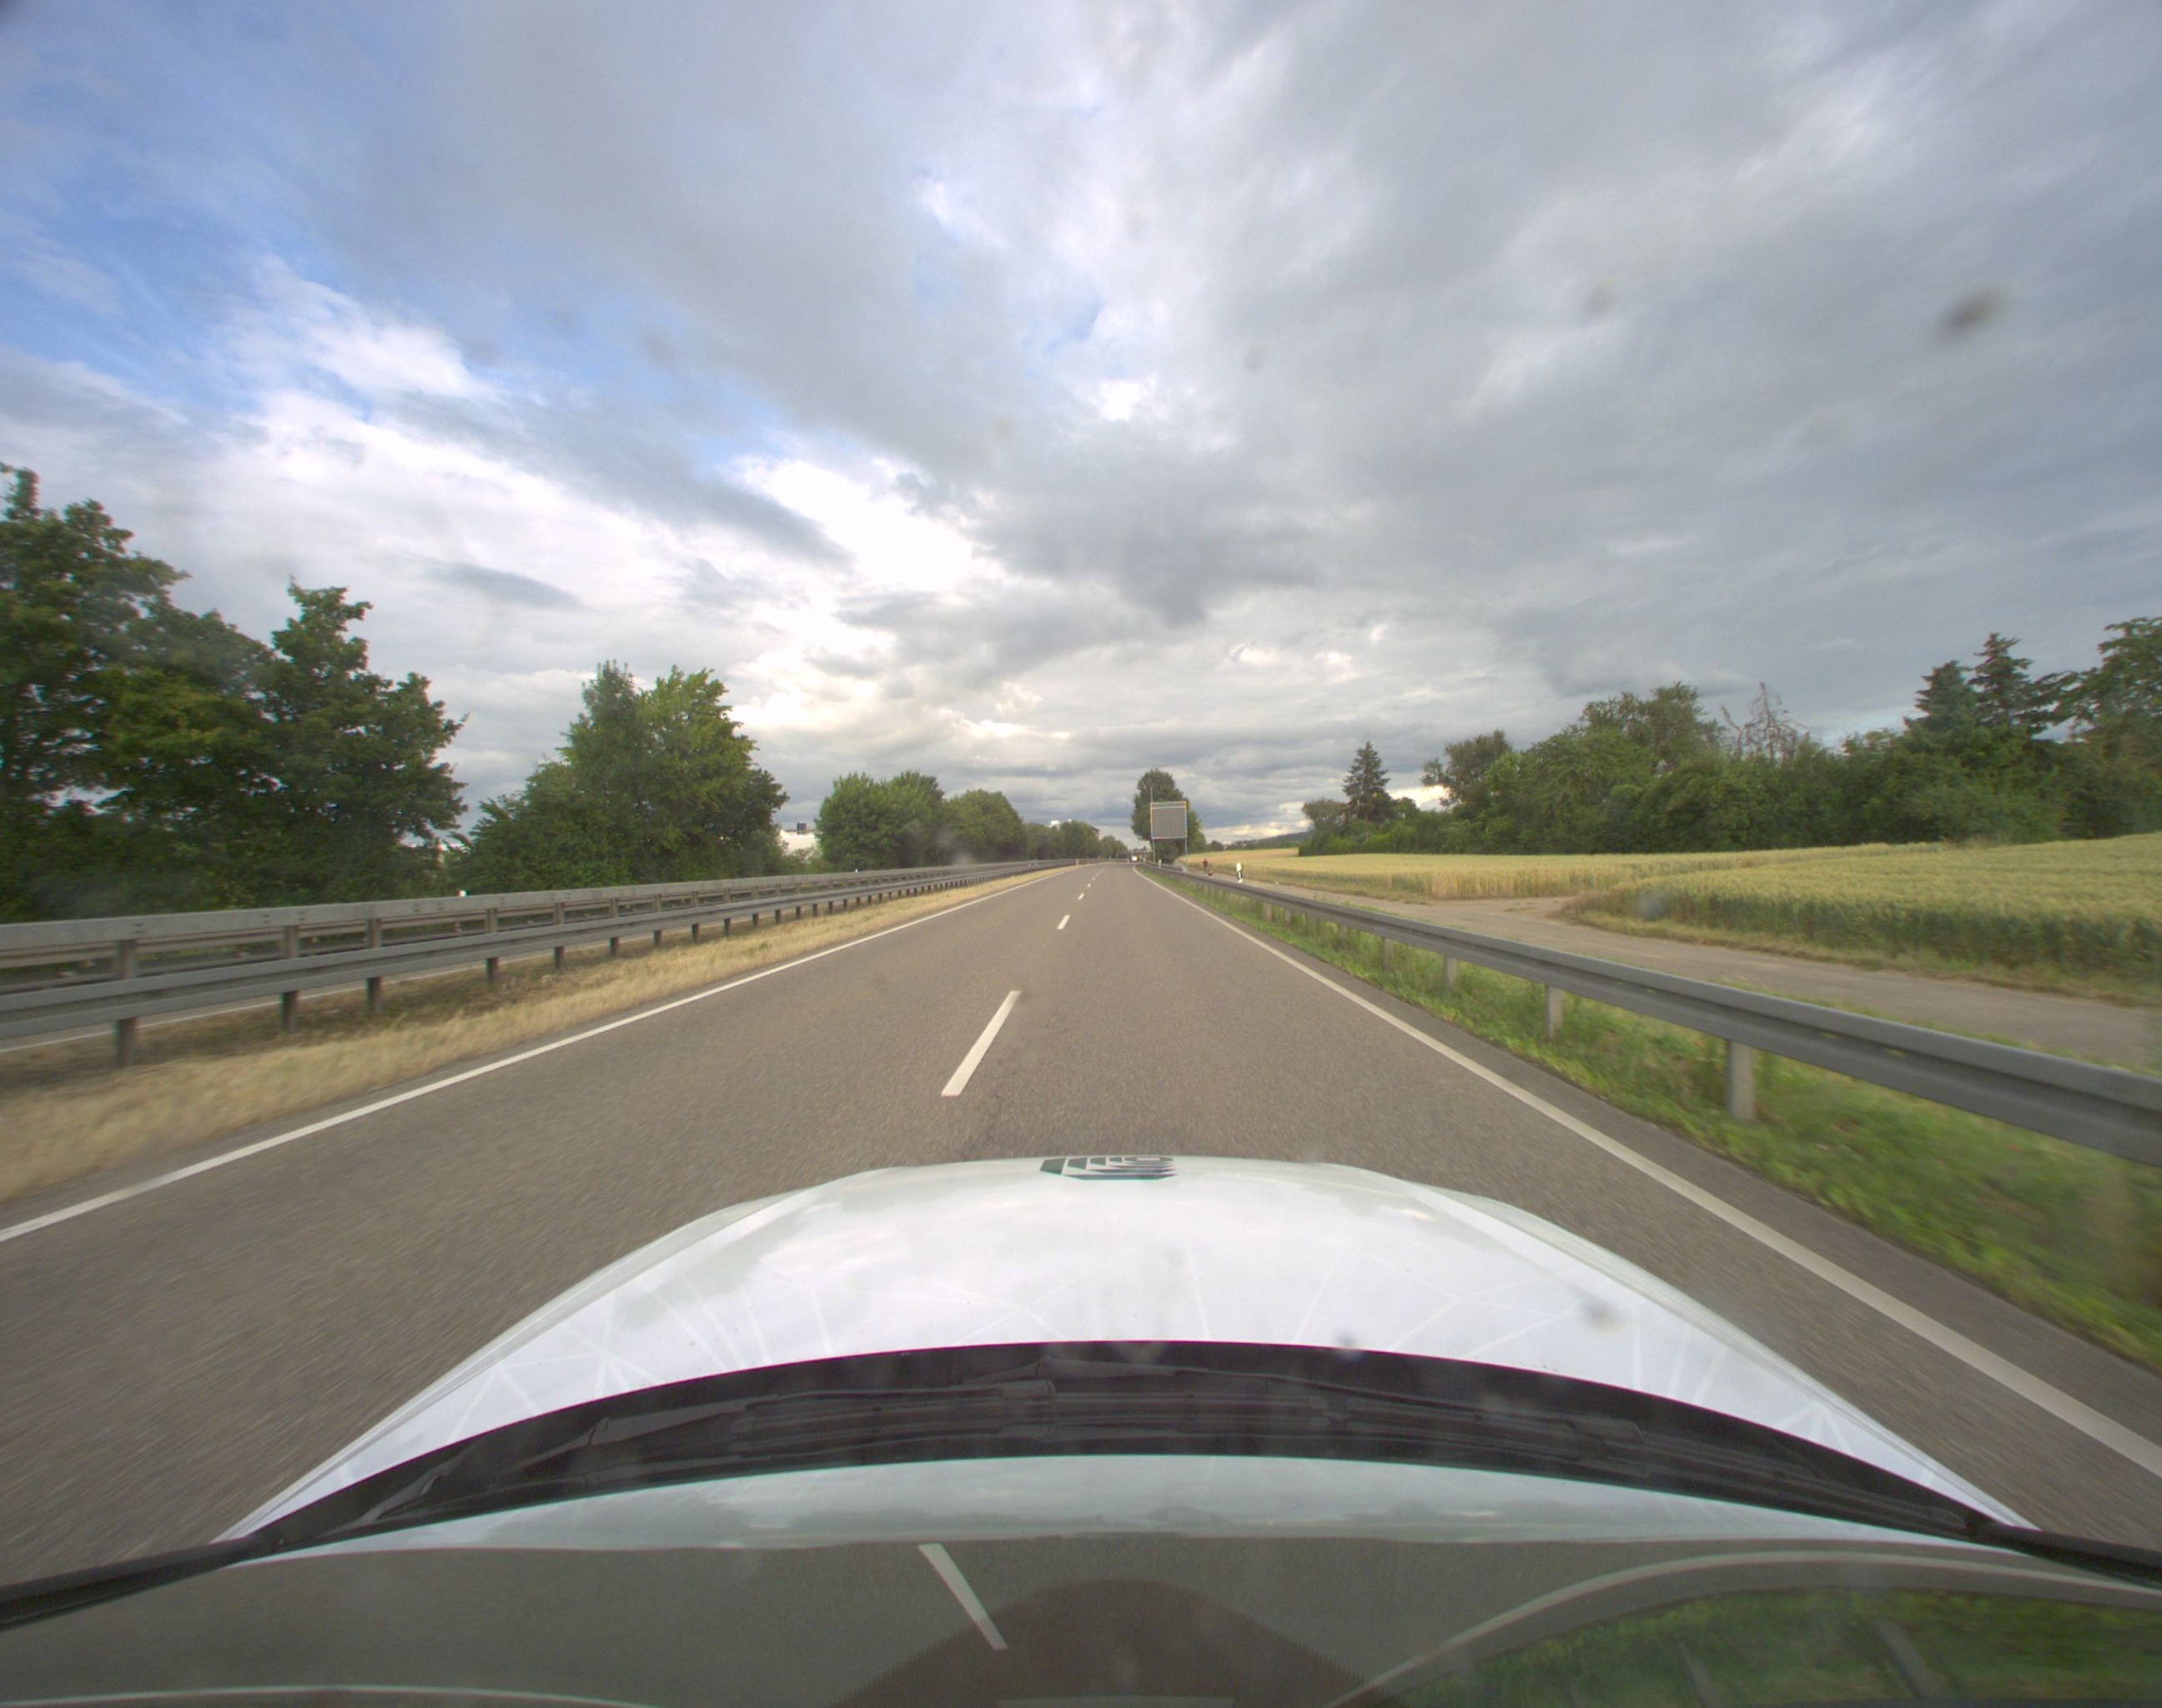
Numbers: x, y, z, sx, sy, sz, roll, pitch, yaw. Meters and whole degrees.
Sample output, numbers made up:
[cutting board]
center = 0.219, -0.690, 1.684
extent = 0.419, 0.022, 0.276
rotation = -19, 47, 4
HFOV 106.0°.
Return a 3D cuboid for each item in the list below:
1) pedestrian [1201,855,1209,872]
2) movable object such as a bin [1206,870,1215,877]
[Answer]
[pedestrian]
center = 13.999, 1.055, 91.741
extent = 0.768, 1.868, 0.940
rotation = 0, -1, 2
[movable object such as a bin]
center = 12.843, 1.894, 80.593
extent = 0.729, 0.645, 1.236
rotation = 0, -1, 2
